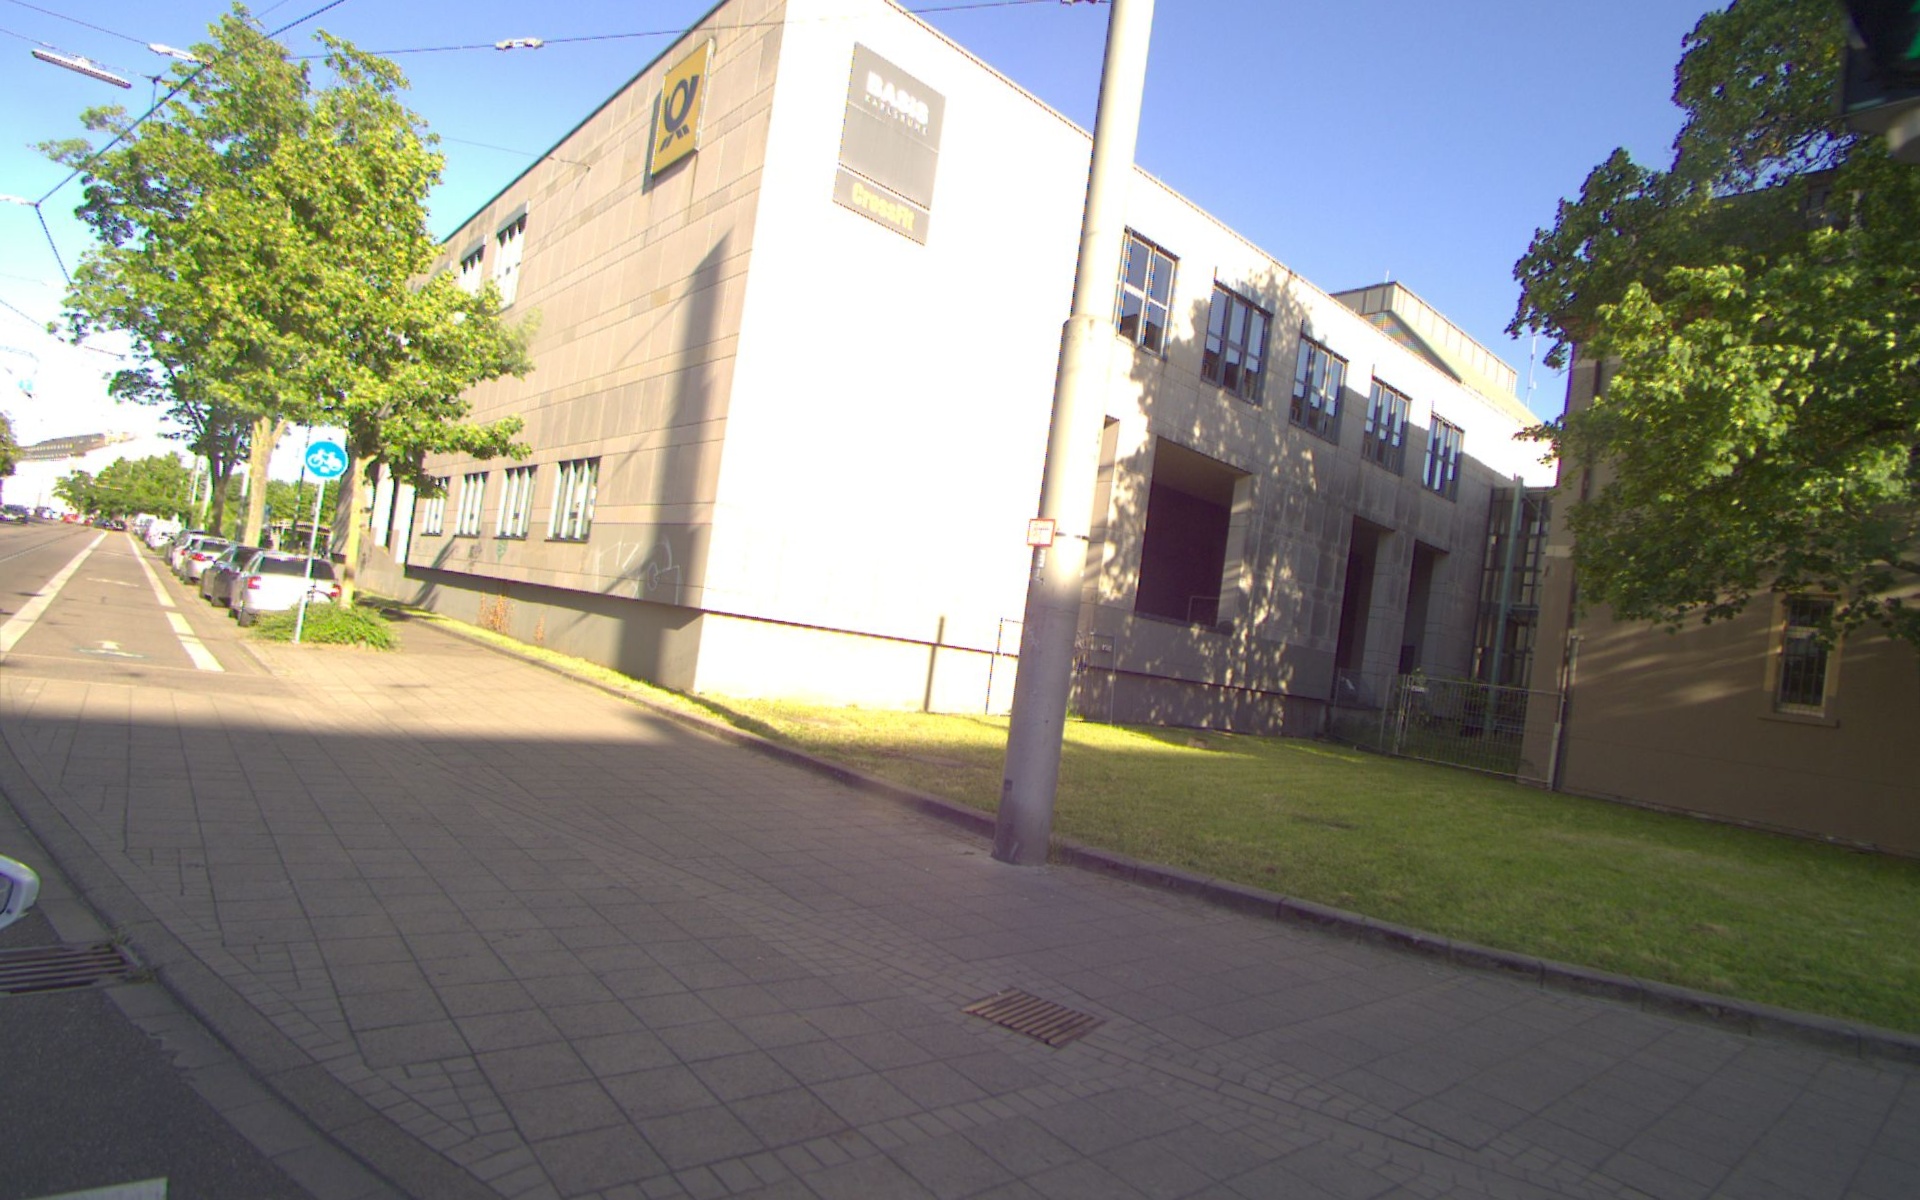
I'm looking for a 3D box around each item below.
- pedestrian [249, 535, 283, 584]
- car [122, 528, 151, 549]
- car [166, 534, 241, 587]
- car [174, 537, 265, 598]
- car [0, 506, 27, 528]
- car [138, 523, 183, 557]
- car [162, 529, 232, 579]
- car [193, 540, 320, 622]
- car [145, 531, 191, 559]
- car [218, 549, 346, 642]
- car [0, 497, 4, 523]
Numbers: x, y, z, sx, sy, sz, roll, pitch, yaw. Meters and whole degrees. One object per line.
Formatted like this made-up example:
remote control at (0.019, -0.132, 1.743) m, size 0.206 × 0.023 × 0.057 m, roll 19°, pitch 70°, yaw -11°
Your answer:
pedestrian at (-31.232, -1.825, 45.274) m, size 0.965 × 2.036 × 1.014 m, roll 9°, pitch -2°, yaw -40°
car at (-72.868, -5.487, 89.001) m, size 1.691 × 1.516 × 3.954 m, roll 9°, pitch -2°, yaw -42°
car at (-26.518, -1.404, 35.211) m, size 1.740 × 1.474 × 4.567 m, roll 9°, pitch -3°, yaw -40°
car at (-22.699, -1.020, 30.766) m, size 1.816 × 1.480 × 4.110 m, roll 10°, pitch -3°, yaw -41°
car at (-81.148, -7.101, 86.036) m, size 1.777 × 1.509 × 4.139 m, roll 10°, pitch -3°, yaw -42°
car at (-54.083, -4.092, 68.028) m, size 1.950 × 1.926 × 4.139 m, roll 9°, pitch -3°, yaw -42°
car at (-31.170, -1.914, 41.044) m, size 1.812 × 1.659 × 4.057 m, roll 9°, pitch -3°, yaw -42°
car at (-17.065, -0.510, 24.303) m, size 1.834 × 1.507 × 4.588 m, roll 9°, pitch -3°, yaw -42°
car at (-50.798, -3.541, 64.485) m, size 1.909 × 1.391 × 4.139 m, roll 10°, pitch -3°, yaw -42°
car at (-13.887, -0.131, 20.519) m, size 1.636 × 1.472 × 3.871 m, roll 9°, pitch -3°, yaw -40°
car at (-98.058, -9.274, 101.058) m, size 2.326 × 2.598 × 5.608 m, roll 9°, pitch -2°, yaw -40°
